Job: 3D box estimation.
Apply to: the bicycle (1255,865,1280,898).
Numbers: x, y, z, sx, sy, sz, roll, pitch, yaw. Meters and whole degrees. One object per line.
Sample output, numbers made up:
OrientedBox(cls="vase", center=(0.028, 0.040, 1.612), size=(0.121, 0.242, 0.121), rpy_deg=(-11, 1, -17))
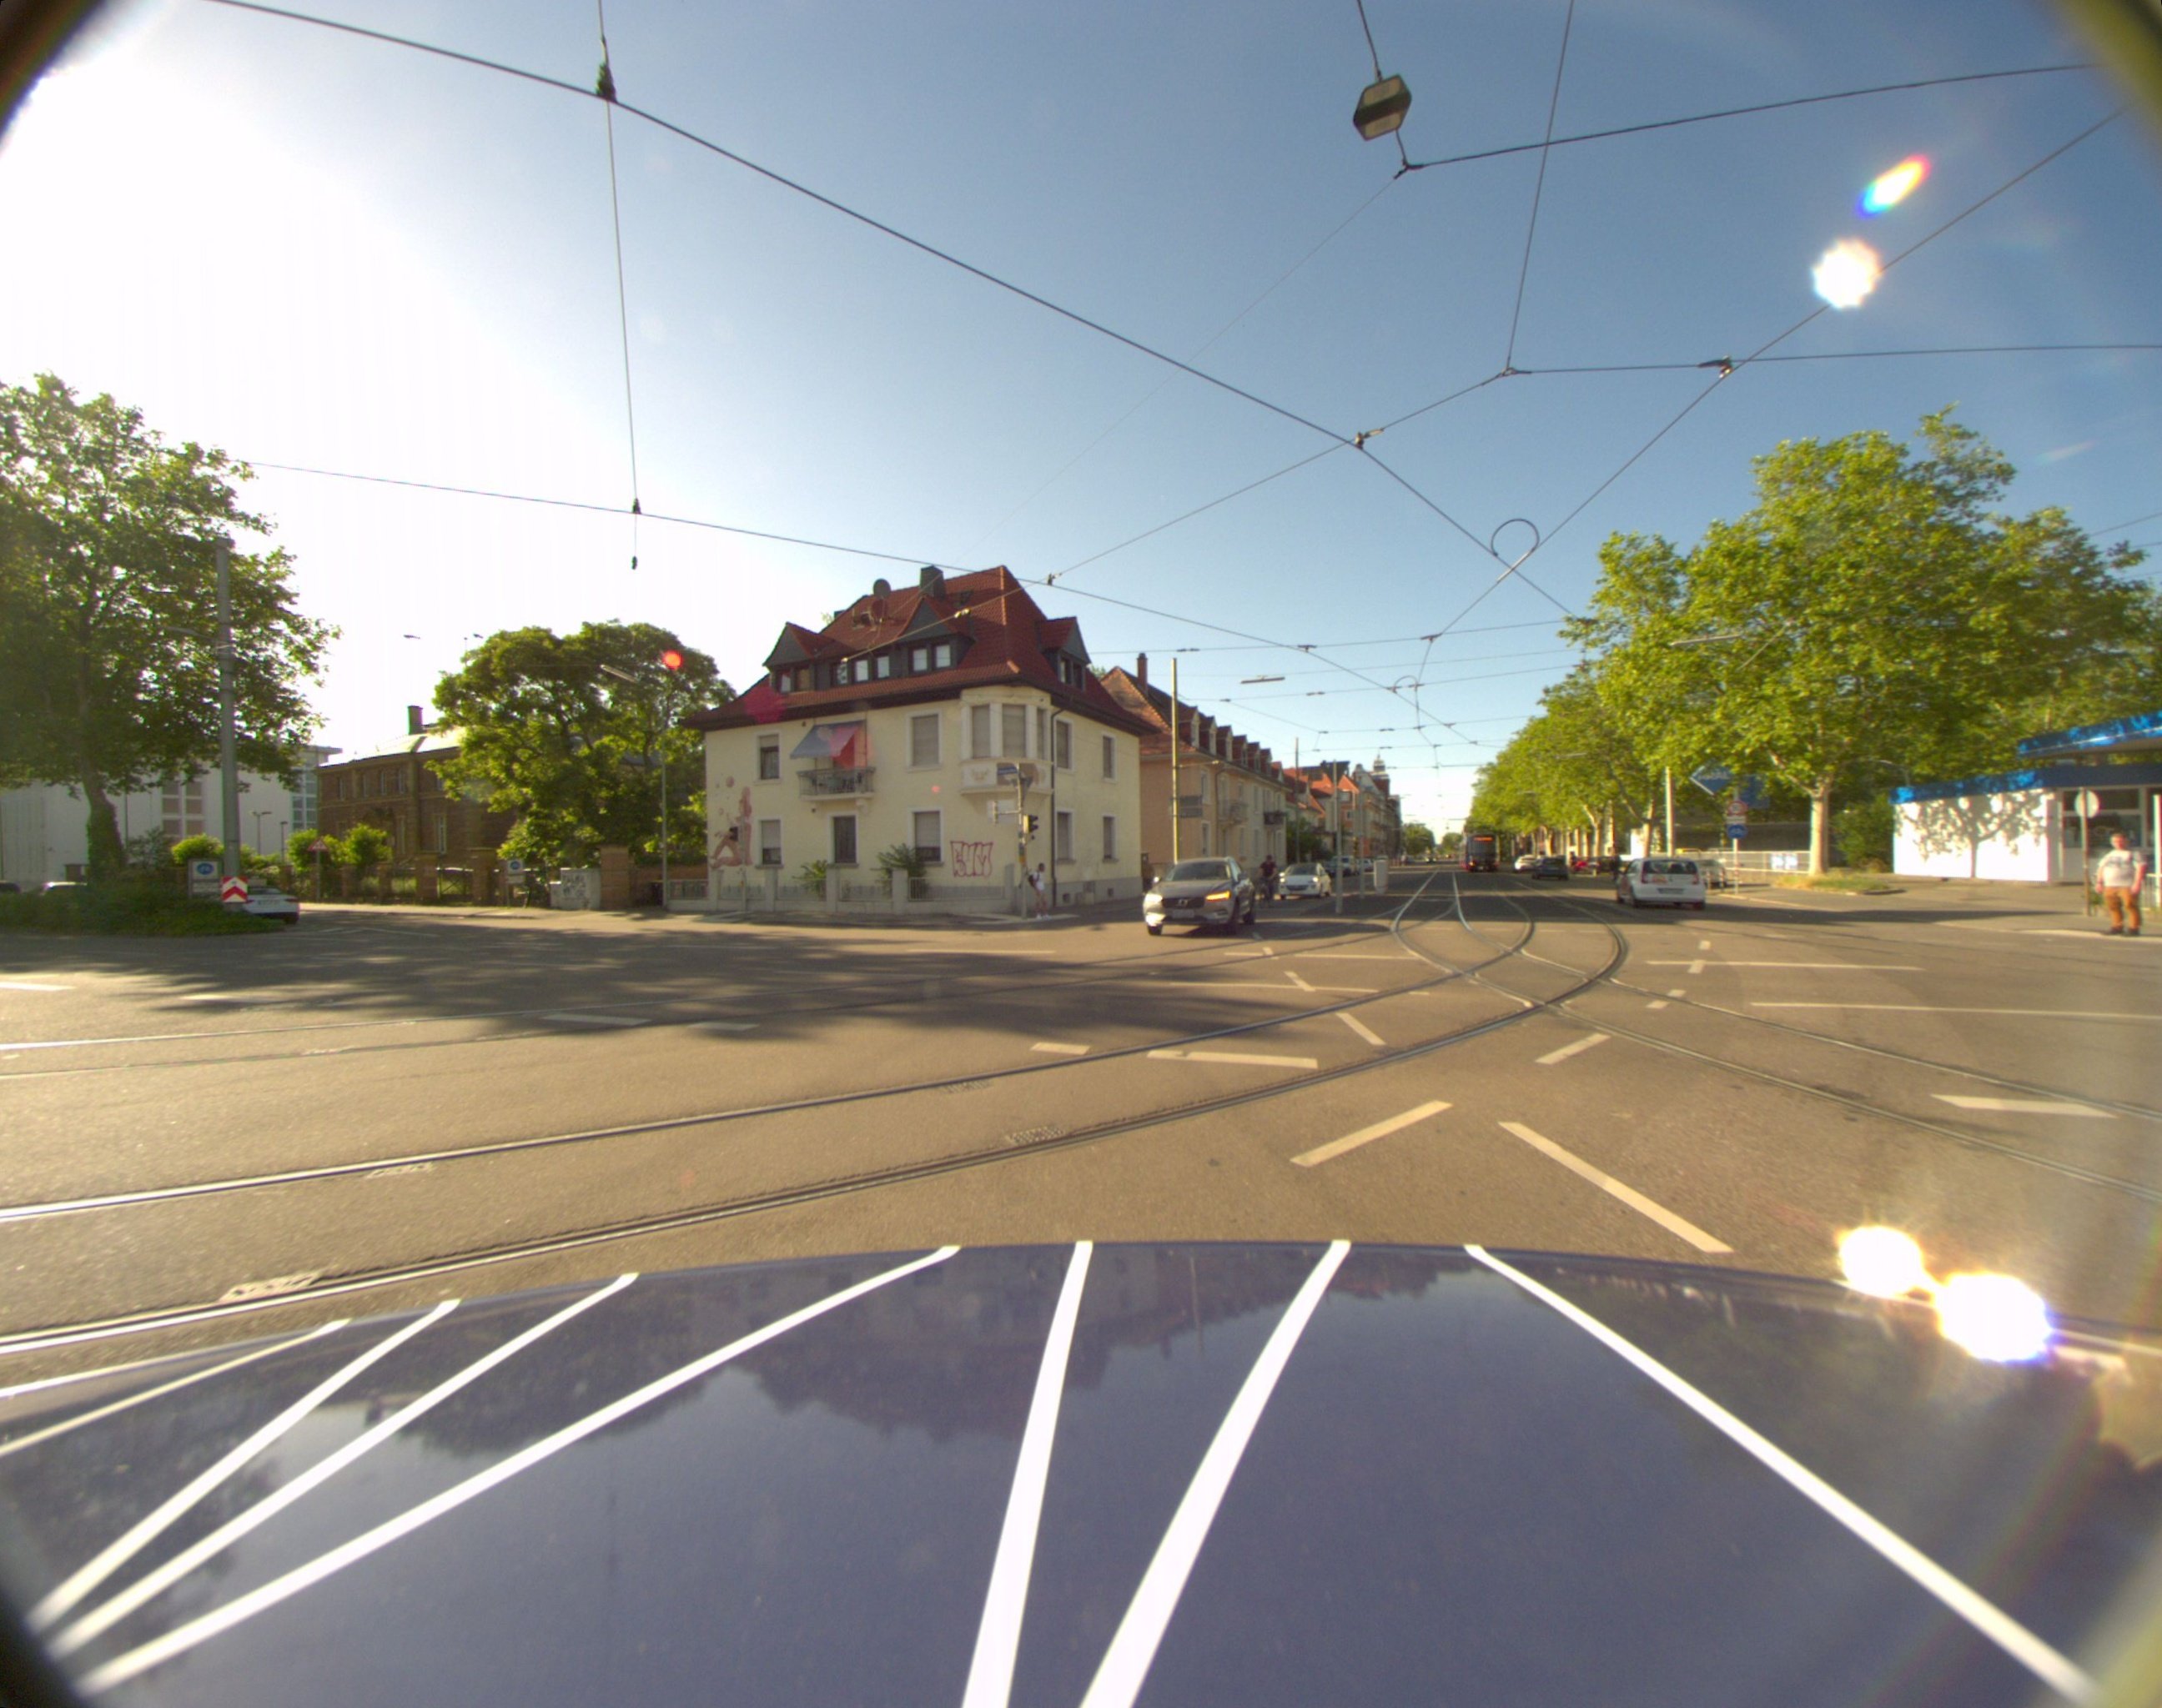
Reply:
OrientedBox(cls="bicycle", center=(6.411, 0.919, 26.050), size=(0.599, 1.050, 1.993), rpy_deg=(-1, 1, 21))

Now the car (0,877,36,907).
OrientedBox(cls="car", center=(-57.121, 1.987, 39.708), size=(4.492, 1.445, 1.922), rpy_deg=(-1, 1, 23))

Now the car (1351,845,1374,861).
OrientedBox(cls="car", center=(32.199, -0.150, 86.820), size=(1.929, 1.750, 5.322), rpy_deg=(-1, 1, 27))

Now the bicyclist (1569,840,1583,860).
OrientedBox(cls="bicyclist", center=(37.830, -0.300, 58.079), size=(0.715, 1.550, 0.988), rpy_deg=(-1, 1, 26))

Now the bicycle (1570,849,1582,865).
OrientedBox(cls="bicycle", center=(37.787, 0.220, 58.035), size=(0.485, 1.159, 2.060), rpy_deg=(-1, 1, 26))

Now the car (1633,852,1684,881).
OrientedBox(cls="car", center=(32.003, 0.686, 42.196), size=(1.776, 1.416, 3.317), rpy_deg=(-4, -1, 30))

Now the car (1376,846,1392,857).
OrientedBox(cls="car", center=(43.170, -0.382, 108.192), size=(1.879, 1.477, 4.006), rpy_deg=(-1, 0, 24))

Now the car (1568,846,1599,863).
OrientedBox(cls="car", center=(45.333, -0.001, 68.602), size=(1.878, 1.477, 4.007), rpy_deg=(-1, 1, 28))

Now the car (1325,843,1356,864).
OrientedBox(cls="car", center=(23.894, -0.076, 69.775), size=(1.929, 1.834, 5.322), rpy_deg=(-1, 1, 27))

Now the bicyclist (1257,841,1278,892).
OrientedBox(cls="bicyclist", center=(6.393, 0.415, 26.034), size=(0.599, 1.709, 0.663), rpy_deg=(-1, 1, 21))

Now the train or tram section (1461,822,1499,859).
OrientedBox(cls="train or tram section", center=(42.209, -1.411, 80.627), size=(3.057, 3.592, 12.523), rpy_deg=(-1, 0, 26))

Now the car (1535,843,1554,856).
OrientedBox(cls="car", center=(60.245, -0.582, 98.867), size=(1.878, 1.542, 4.007), rpy_deg=(-1, 1, 28))

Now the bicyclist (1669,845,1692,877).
OrientedBox(cls="bicyclist", center=(25.526, 0.296, 32.370), size=(0.603, 1.332, 0.899), rpy_deg=(-1, 1, 29))

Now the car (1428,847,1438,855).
OrientedBox(cls="car", center=(74.865, -0.665, 161.631), size=(1.879, 1.477, 4.006), rpy_deg=(-1, 0, 24))

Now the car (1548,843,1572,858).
OrientedBox(cls="car", center=(52.121, -0.360, 82.662), size=(1.878, 1.567, 4.007), rpy_deg=(-1, 1, 28))

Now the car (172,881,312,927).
OrientedBox(cls="car", center=(-29.802, 1.716, 26.988), size=(4.492, 1.445, 1.922), rpy_deg=(-1, 1, 23))

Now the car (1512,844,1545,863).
OrientedBox(cls="car", center=(38.030, -0.075, 64.625), size=(1.995, 1.488, 4.354), rpy_deg=(2, 2, 25))

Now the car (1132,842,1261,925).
OrientedBox(cls="car", center=(2.779, 0.569, 17.309), size=(1.914, 1.621, 4.509), rpy_deg=(-1, 0, 21))

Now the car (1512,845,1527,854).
OrientedBox(cls="car", center=(78.580, -0.868, 136.223), size=(1.879, 1.542, 4.006), rpy_deg=(-1, 0, 23))

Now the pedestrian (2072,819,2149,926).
OrientedBox(cls="pedestrian", center=(18.813, 0.329, 13.898), size=(0.630, 1.914, 0.585), rpy_deg=(-1, 1, 26))

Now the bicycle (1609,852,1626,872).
OrientedBox(cls="bicycle", center=(31.251, 0.454, 44.267), size=(0.485, 1.159, 2.060), rpy_deg=(-1, 1, 26))

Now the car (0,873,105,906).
OrientedBox(cls="car", center=(-48.602, 1.655, 35.914), size=(4.492, 1.445, 1.922), rpy_deg=(-1, 1, 23))

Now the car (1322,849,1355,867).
OrientedBox(cls="car", center=(21.973, 0.312, 64.806), size=(1.878, 1.477, 4.007), rpy_deg=(-1, 1, 30))

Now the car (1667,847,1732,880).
OrientedBox(cls="car", center=(29.426, 0.427, 36.238), size=(1.776, 1.416, 3.545), rpy_deg=(-4, -1, 30))

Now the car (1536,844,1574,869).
OrientedBox(cls="car", center=(30.485, 0.129, 48.962), size=(1.775, 1.488, 4.581), rpy_deg=(-1, 1, 28))

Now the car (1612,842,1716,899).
OrientedBox(cls="car", center=(16.804, 0.426, 22.077), size=(1.719, 1.488, 3.589), rpy_deg=(-1, 1, 26))

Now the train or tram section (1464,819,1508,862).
OrientedBox(cls="train or tram section", center=(36.857, -1.214, 69.515), size=(3.057, 3.592, 12.135), rpy_deg=(-1, 1, 26))

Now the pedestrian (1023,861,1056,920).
OrientedBox(cls="pedestrian", center=(-1.251, 1.094, 23.029), size=(0.675, 1.731, 0.687), rpy_deg=(-1, 4, -41))

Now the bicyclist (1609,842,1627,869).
OrientedBox(cls="bicyclist", center=(31.311, 0.077, 44.300), size=(0.696, 1.562, 0.893), rpy_deg=(-1, 1, 26))

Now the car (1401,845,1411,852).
OrientedBox(cls="car", center=(70.466, -1.191, 164.935), size=(1.879, 1.477, 4.006), rpy_deg=(-1, 0, 24))

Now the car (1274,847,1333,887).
OrientedBox(cls="car", center=(9.732, 0.515, 32.970), size=(1.914, 1.621, 4.510), rpy_deg=(-1, 0, 23))

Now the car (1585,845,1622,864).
OrientedBox(cls="car", center=(41.237, 0.022, 60.030), size=(1.878, 1.477, 4.007), rpy_deg=(-1, 1, 28))

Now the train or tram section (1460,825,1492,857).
OrientedBox(cls="train or tram section", center=(47.571, -1.564, 91.729), size=(3.057, 3.592, 12.135), rpy_deg=(-1, 1, 26))

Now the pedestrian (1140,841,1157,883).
OrientedBox(cls="pedestrian", center=(2.862, 0.340, 32.341), size=(0.601, 1.750, 0.487), rpy_deg=(-1, 1, 15))
